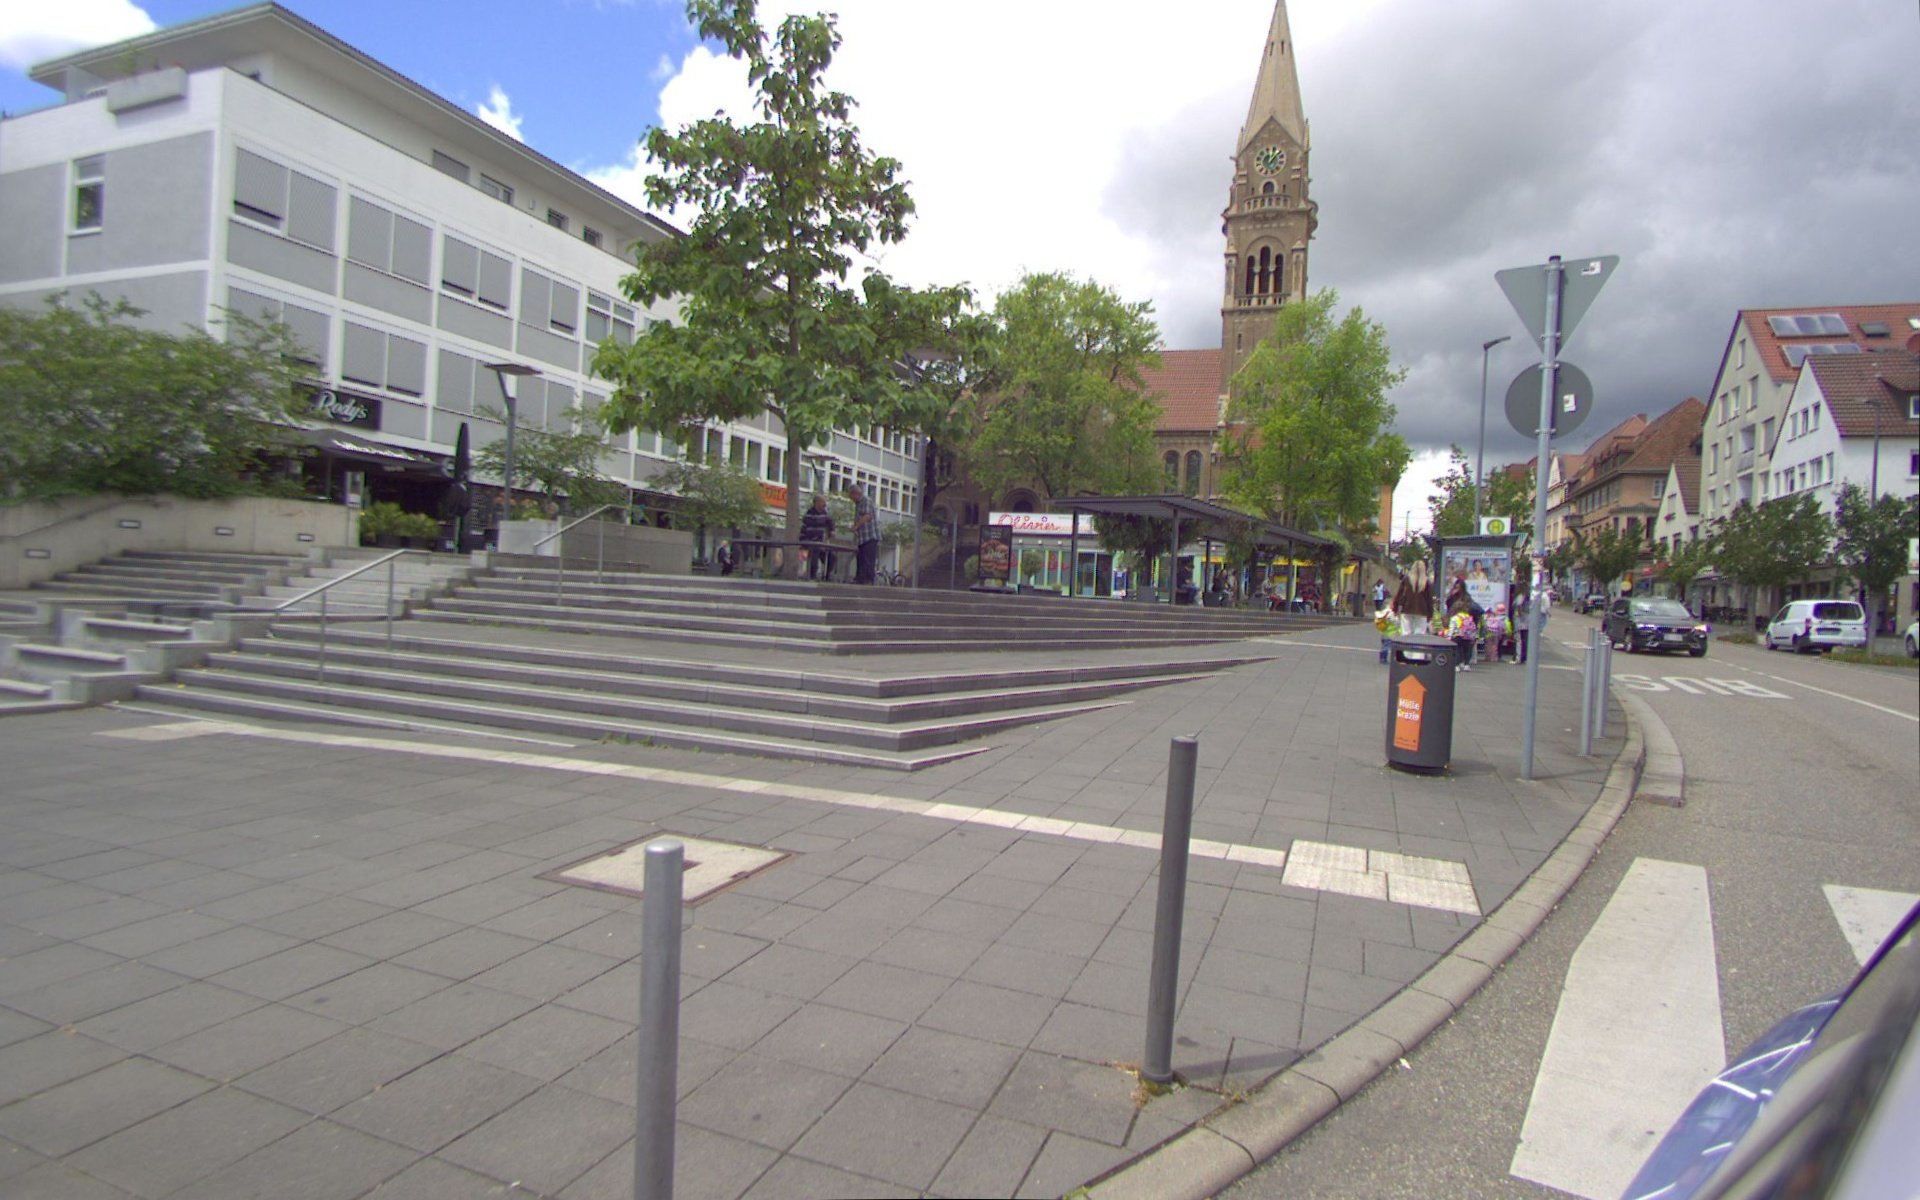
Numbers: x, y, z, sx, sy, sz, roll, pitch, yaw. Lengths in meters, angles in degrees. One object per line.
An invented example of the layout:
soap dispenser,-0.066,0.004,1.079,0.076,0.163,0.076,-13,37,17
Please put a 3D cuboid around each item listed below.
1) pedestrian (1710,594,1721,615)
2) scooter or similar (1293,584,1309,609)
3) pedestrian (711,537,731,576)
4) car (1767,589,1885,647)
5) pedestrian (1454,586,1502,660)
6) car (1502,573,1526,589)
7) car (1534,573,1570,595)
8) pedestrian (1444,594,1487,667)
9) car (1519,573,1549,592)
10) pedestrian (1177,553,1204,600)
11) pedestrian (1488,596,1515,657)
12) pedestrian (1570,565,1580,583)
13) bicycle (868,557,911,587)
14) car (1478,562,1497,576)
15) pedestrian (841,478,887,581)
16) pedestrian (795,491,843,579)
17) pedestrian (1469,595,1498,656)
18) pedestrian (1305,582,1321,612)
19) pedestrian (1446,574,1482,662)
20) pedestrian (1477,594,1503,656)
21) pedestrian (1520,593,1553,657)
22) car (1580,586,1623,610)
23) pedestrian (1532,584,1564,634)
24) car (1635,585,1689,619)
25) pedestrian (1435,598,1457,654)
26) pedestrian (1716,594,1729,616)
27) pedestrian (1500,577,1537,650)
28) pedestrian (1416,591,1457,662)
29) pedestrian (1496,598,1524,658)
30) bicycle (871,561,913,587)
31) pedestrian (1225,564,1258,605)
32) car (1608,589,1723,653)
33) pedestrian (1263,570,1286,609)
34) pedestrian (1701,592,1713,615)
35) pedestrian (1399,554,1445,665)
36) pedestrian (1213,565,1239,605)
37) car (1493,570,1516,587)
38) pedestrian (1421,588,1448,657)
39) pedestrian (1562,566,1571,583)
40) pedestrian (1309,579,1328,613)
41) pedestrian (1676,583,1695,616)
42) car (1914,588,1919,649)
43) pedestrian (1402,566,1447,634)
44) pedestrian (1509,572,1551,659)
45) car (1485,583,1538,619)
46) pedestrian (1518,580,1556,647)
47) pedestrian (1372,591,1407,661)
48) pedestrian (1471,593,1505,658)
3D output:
pedestrian,45.043,0.262,60.338,0.391,1.265,0.496,2,1,22
scooter or similar,13.070,-0.144,38.772,0.497,0.905,0.249,4,-1,-32
pedestrian,-8.428,-1.539,35.706,0.559,1.340,0.545,2,1,2
car,27.763,0.522,32.604,1.643,1.693,4.316,1,1,23
pedestrian,9.677,0.423,18.922,0.424,1.319,0.600,3,3,-6
car,57.110,-1.950,104.425,1.713,1.448,3.480,2,4,22
car,49.639,-1.368,84.902,1.709,1.592,4.428,2,3,20
pedestrian,8.667,0.516,17.367,0.469,1.186,0.390,4,2,9
car,52.065,-1.594,91.834,1.649,1.544,3.940,1,3,20
pedestrian,6.617,-0.669,29.013,0.566,1.340,0.538,2,1,37
pedestrian,10.648,0.524,19.904,0.259,1.175,0.272,3,2,-14
pedestrian,54.863,-2.324,90.265,0.608,1.601,0.638,2,3,20
bicycle,-3.412,-1.372,49.102,1.987,1.323,0.688,4,1,-5
car,66.373,-3.931,127.340,1.672,1.542,3.505,3,4,22
pedestrian,-1.457,-1.074,15.416,0.450,1.527,0.499,3,1,26
pedestrian,-2.170,-0.993,15.624,0.361,1.301,0.634,3,1,32
pedestrian,10.465,0.508,20.232,0.312,1.166,0.322,3,2,-12
pedestrian,13.622,-0.117,39.018,0.474,1.102,0.364,3,-1,32
pedestrian,9.061,0.314,18.210,0.385,1.535,0.388,4,2,14
pedestrian,10.383,0.482,19.827,0.247,1.188,0.252,3,2,-14
pedestrian,11.510,0.491,20.191,0.381,1.241,0.404,2,2,-40
car,43.542,-0.184,68.780,1.644,1.409,4.411,2,3,23
pedestrian,20.805,0.314,35.812,0.701,1.703,0.687,1,2,-36
car,37.781,0.083,54.562,1.653,1.667,4.100,1,2,24
pedestrian,9.488,0.504,19.757,0.250,1.082,0.249,5,2,38
pedestrian,44.457,0.289,59.006,0.423,1.265,0.562,2,1,22
pedestrian,12.417,0.289,22.509,0.493,1.585,0.496,3,1,9
pedestrian,8.416,0.459,17.886,0.501,1.213,0.391,2,2,-37
pedestrian,10.911,0.555,20.083,0.287,1.166,0.299,3,2,-20
bicycle,-3.401,-1.293,50.453,1.987,1.156,0.688,5,1,-5
pedestrian,8.939,-0.497,32.142,0.662,1.285,0.772,1,1,-20
car,20.178,0.540,29.119,1.874,1.542,3.710,1,3,22
pedestrian,11.107,-0.367,35.724,0.621,1.323,0.540,4,1,32
pedestrian,43.694,0.221,59.166,0.417,1.316,0.451,2,1,22
pedestrian,7.944,0.150,17.428,0.534,1.845,0.433,4,2,18
pedestrian,8.292,-0.470,31.540,0.566,1.243,0.559,2,1,37
car,59.805,-2.355,111.217,1.713,1.700,3.965,2,4,21
pedestrian,8.781,0.410,18.710,0.322,1.253,0.330,5,3,31
pedestrian,54.276,-2.323,90.593,0.491,1.495,0.525,2,3,20
pedestrian,14.001,-0.162,39.515,0.566,1.278,0.535,3,-1,32
pedestrian,41.511,-0.032,57.903,0.654,1.782,0.772,2,3,22
car,29.052,0.606,28.542,1.743,1.836,4.439,1,1,25
pedestrian,11.721,-0.007,25.545,0.797,1.657,0.676,3,2,42
pedestrian,11.109,0.301,19.724,0.459,1.639,0.389,3,2,-14
car,30.906,0.008,56.809,1.912,1.745,4.542,4,3,21
pedestrian,13.794,0.316,24.201,0.476,1.568,0.545,2,1,-18
pedestrian,7.455,0.442,17.574,0.434,1.162,0.381,4,2,17
pedestrian,10.007,0.487,19.191,0.329,1.180,0.352,4,3,-4
